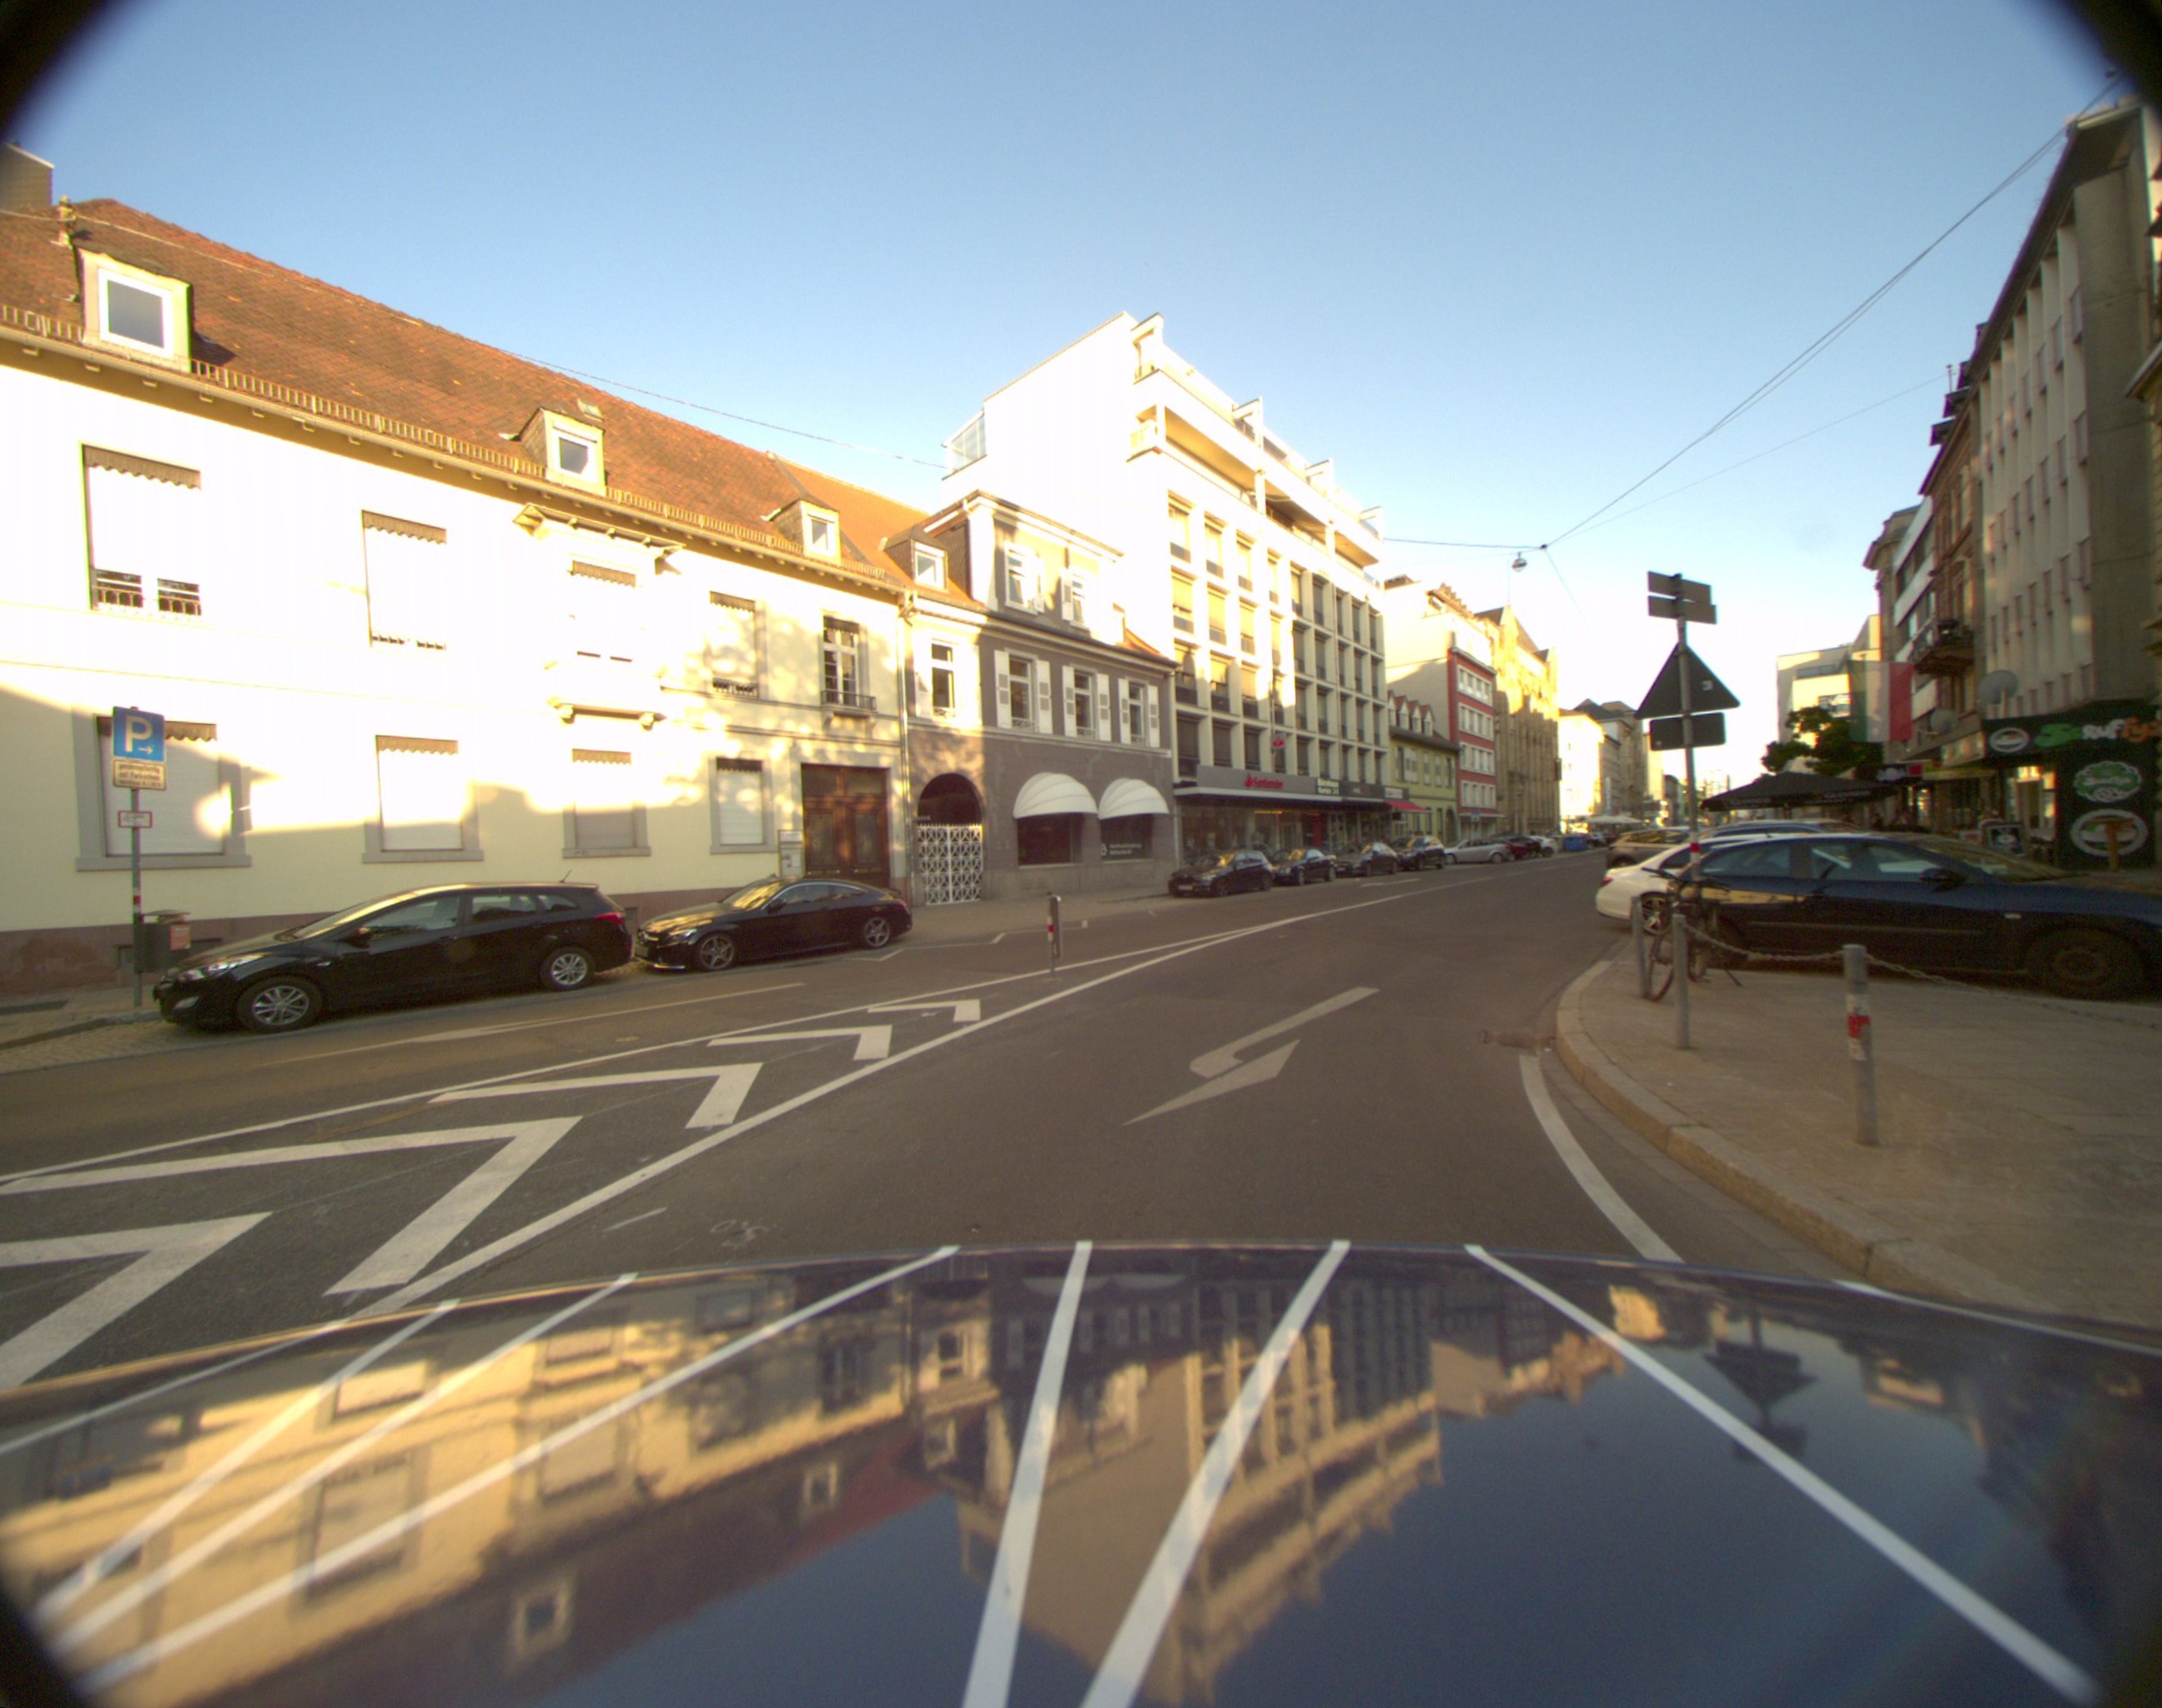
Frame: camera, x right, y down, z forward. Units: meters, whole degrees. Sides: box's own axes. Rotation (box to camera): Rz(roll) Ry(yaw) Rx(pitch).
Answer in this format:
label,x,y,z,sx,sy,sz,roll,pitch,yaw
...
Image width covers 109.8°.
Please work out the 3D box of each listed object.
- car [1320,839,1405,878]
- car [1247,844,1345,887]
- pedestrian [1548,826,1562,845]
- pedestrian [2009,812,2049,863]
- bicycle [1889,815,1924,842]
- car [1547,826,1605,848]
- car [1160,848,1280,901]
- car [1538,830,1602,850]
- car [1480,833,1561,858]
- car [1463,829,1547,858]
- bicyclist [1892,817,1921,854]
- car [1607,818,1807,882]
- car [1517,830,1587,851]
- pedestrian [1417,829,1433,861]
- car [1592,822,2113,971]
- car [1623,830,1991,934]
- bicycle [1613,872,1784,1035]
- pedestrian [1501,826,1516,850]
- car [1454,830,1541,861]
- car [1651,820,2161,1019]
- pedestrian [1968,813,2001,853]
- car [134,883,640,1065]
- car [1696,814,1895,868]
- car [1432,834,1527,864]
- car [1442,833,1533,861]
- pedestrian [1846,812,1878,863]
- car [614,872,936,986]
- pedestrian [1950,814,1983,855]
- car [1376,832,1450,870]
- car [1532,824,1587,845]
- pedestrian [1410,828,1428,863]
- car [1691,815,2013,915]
label,x,y,z,sx,sy,sz,roll,pitch,yaw
car,12.077,0.177,32.418,1.743,1.438,4.567,-2,1,43
car,8.081,0.407,28.303,1.743,1.379,4.510,-2,1,41
pedestrian,45.689,-1.826,73.245,1.014,1.789,0.848,-3,1,-43
pedestrian,24.940,-0.443,20.000,0.573,1.301,0.577,-2,1,43
bicycle,36.386,-1.121,33.511,0.766,1.108,2.182,-3,1,41
car,43.307,-1.474,66.548,3.829,1.743,1.756,-2,1,17
car,4.520,0.600,24.206,1.743,1.438,4.257,-2,1,42
car,41.301,-1.202,64.266,4.220,1.465,1.756,-2,1,17
car,28.790,-0.563,49.883,4.221,1.465,1.755,-2,1,12
car,26.676,-0.642,47.939,4.221,1.607,1.755,-2,1,12
bicyclist,36.382,-0.815,33.494,0.766,1.550,0.814,-3,1,41
car,18.069,-0.049,22.161,1.855,1.619,4.044,-3,-1,-27
car,36.508,-1.034,58.968,4.221,1.465,1.755,-2,1,12
pedestrian,20.618,-0.516,45.537,0.611,1.876,0.720,-2,1,41
car,9.909,0.508,10.384,1.770,1.503,4.622,-3,-1,-20
car,12.083,0.393,13.056,1.712,1.439,4.243,-2,1,-23
bicycle,5.344,0.782,6.535,1.807,1.119,0.726,-3,-1,-40
pedestrian,35.957,-1.356,63.900,1.014,1.933,0.848,-3,1,-43
car,25.080,-0.528,45.894,4.222,1.667,1.755,-2,1,8
car,8.135,0.540,7.265,1.743,1.452,3.857,-3,-2,-25
pedestrian,29.119,-0.667,24.493,0.575,1.238,0.677,-1,1,41
car,-8.438,1.272,9.713,1.802,1.532,4.439,-3,0,42
car,25.384,-0.413,27.247,1.910,1.723,4.833,-2,0,-21
car,21.712,-0.287,41.535,4.224,1.431,1.754,-2,1,3
car,23.385,-0.402,43.829,4.222,1.431,1.755,-2,1,8
pedestrian,22.151,-0.459,21.560,0.575,1.408,0.677,-1,1,41
car,-5.104,1.154,13.299,1.774,1.386,4.867,-3,0,43
pedestrian,27.689,-0.603,23.776,0.575,1.238,0.677,-1,1,41
car,15.947,-0.149,36.360,1.828,1.649,4.371,-1,1,44
car,47.540,-1.881,75.589,4.220,1.871,1.756,-2,1,17
pedestrian,20.315,-0.530,45.650,0.761,2.055,0.720,-2,1,41
car,14.743,0.169,14.841,1.795,1.647,4.043,-2,1,-23
